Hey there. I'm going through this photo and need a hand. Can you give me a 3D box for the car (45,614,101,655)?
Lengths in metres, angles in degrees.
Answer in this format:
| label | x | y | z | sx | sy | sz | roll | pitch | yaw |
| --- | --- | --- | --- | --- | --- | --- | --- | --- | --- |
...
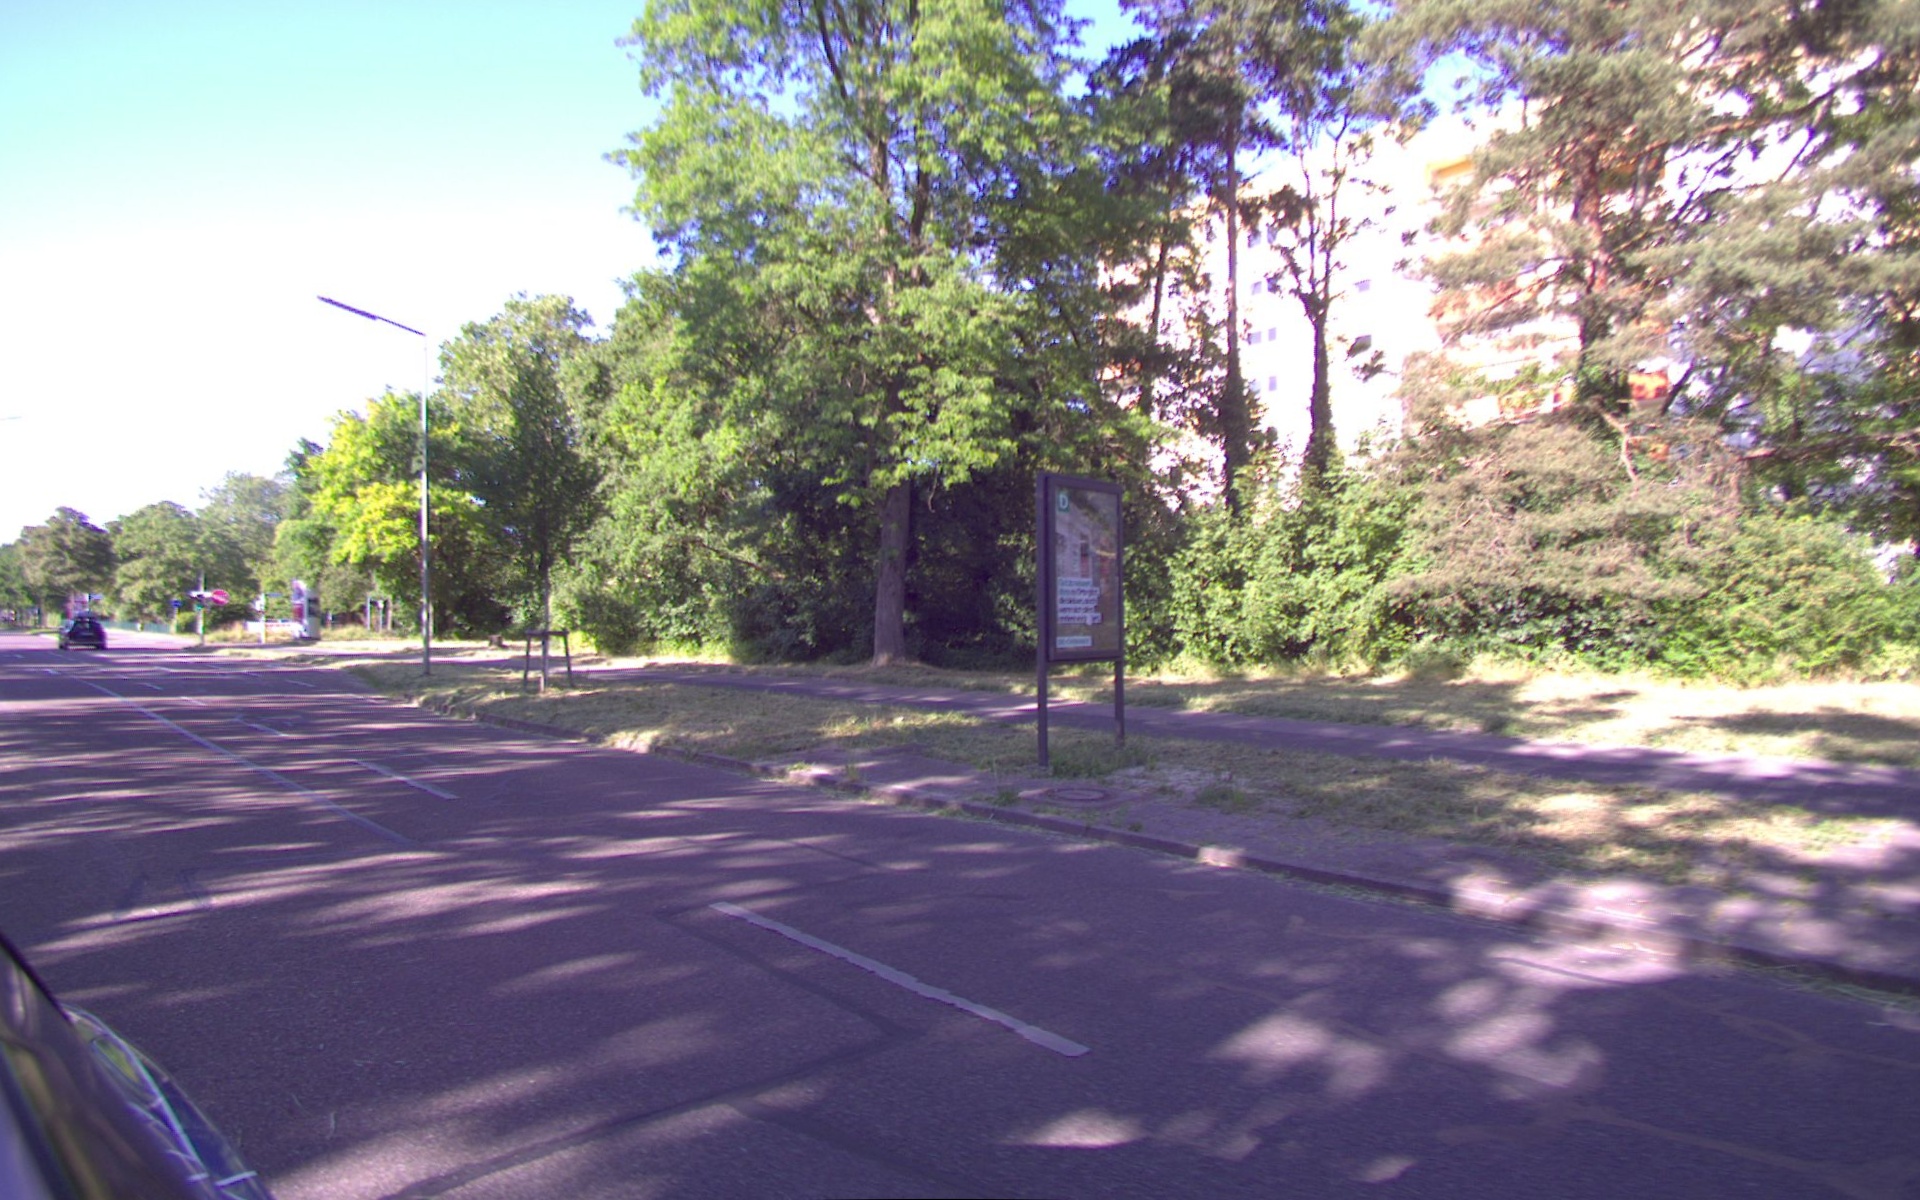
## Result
| label | x | y | z | sx | sy | sz | roll | pitch | yaw |
| --- | --- | --- | --- | --- | --- | --- | --- | --- | --- |
| car | -48.347 | 1.874 | 55.141 | 3.642 | 2.111 | 1.878 | -1 | -3 | 44 |
